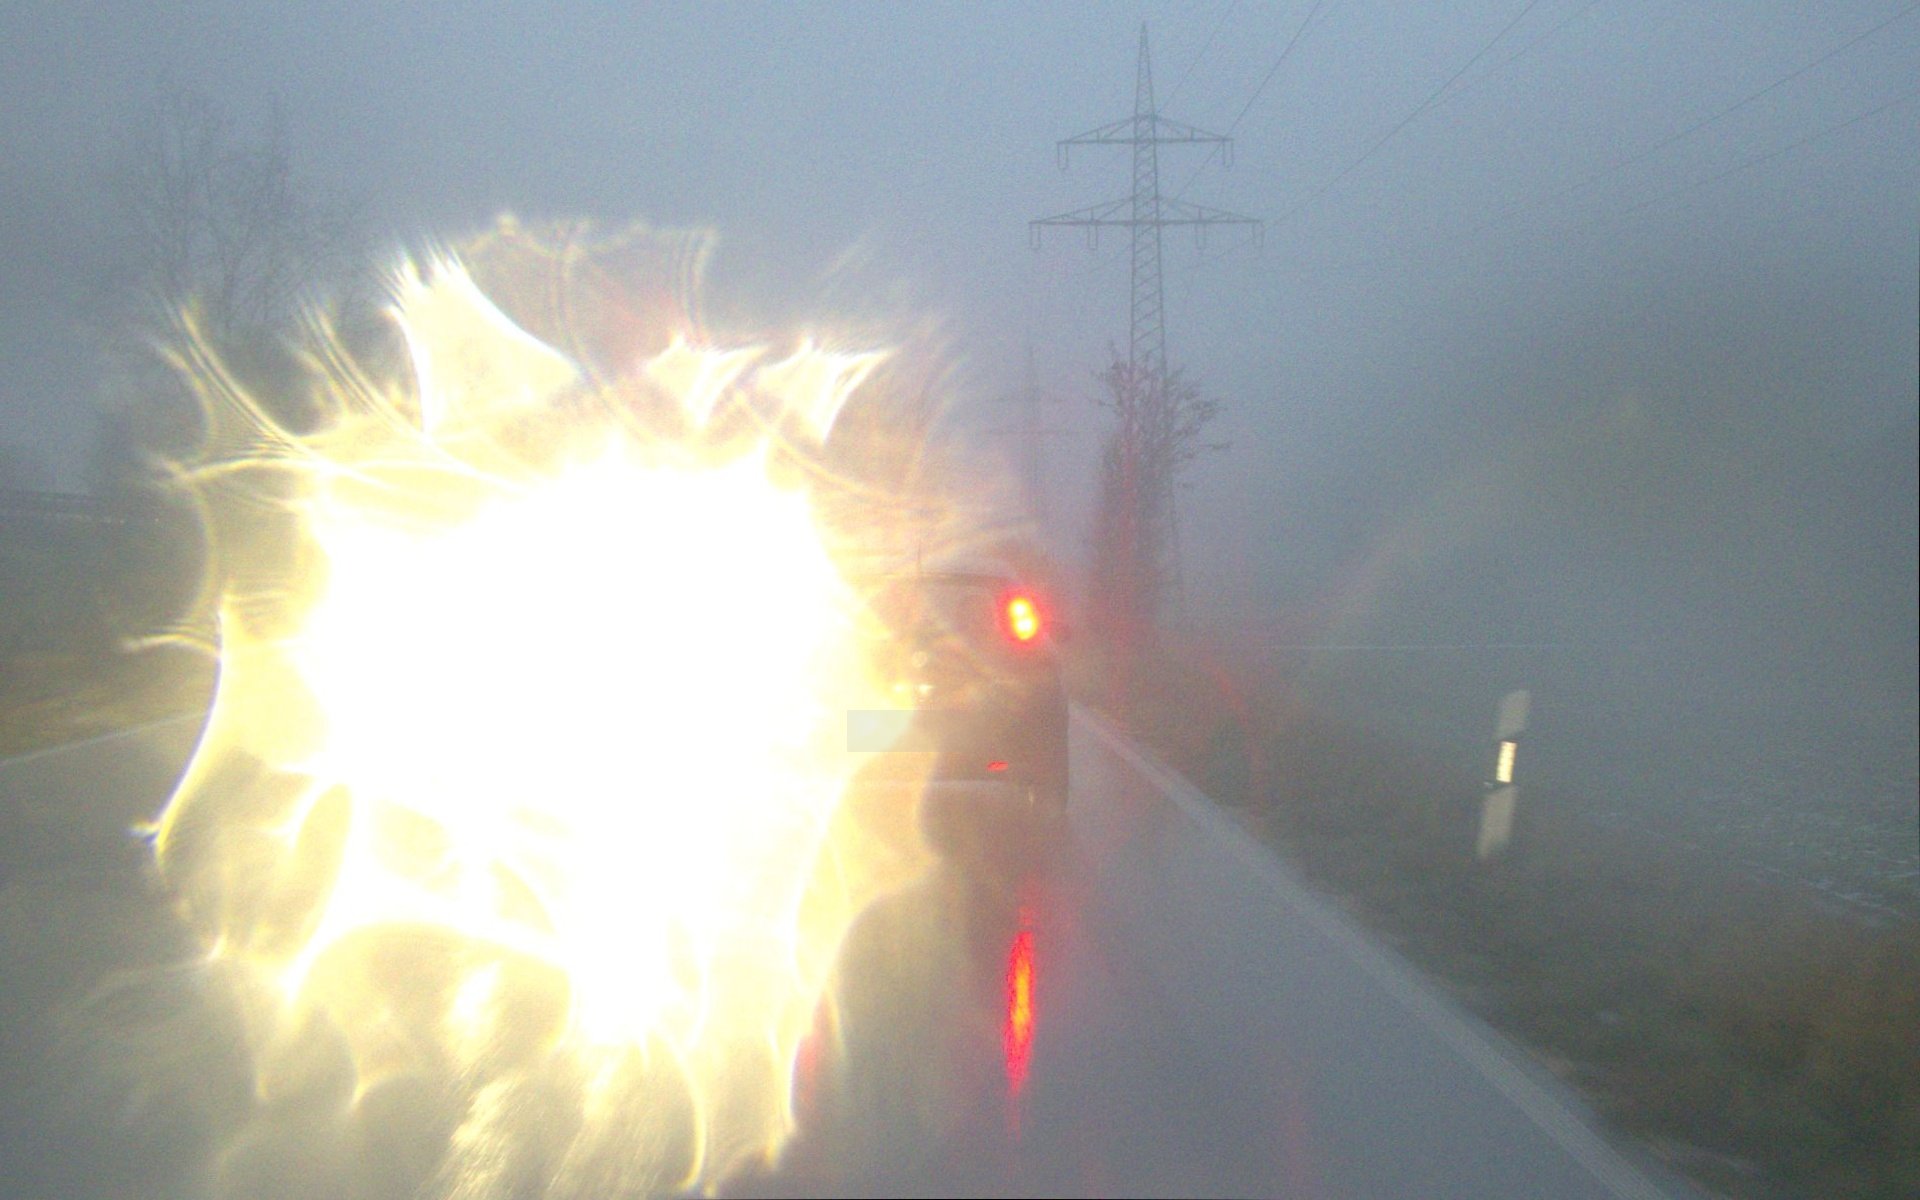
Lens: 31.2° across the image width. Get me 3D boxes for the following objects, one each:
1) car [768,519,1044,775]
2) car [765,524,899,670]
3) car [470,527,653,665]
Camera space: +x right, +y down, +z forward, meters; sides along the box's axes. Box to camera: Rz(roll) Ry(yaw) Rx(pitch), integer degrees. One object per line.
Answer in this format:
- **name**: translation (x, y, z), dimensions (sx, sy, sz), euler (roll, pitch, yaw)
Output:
- **car**: translation (-0.387, 0.242, 20.501), dimensions (1.500, 1.393, 3.200), euler (1, 1, -3)
- **car**: translation (-1.892, -0.069, 49.839), dimensions (1.852, 2.007, 4.001), euler (1, 1, -3)
- **car**: translation (-4.836, -0.092, 42.215), dimensions (1.785, 1.585, 4.487), euler (1, 1, -1)
